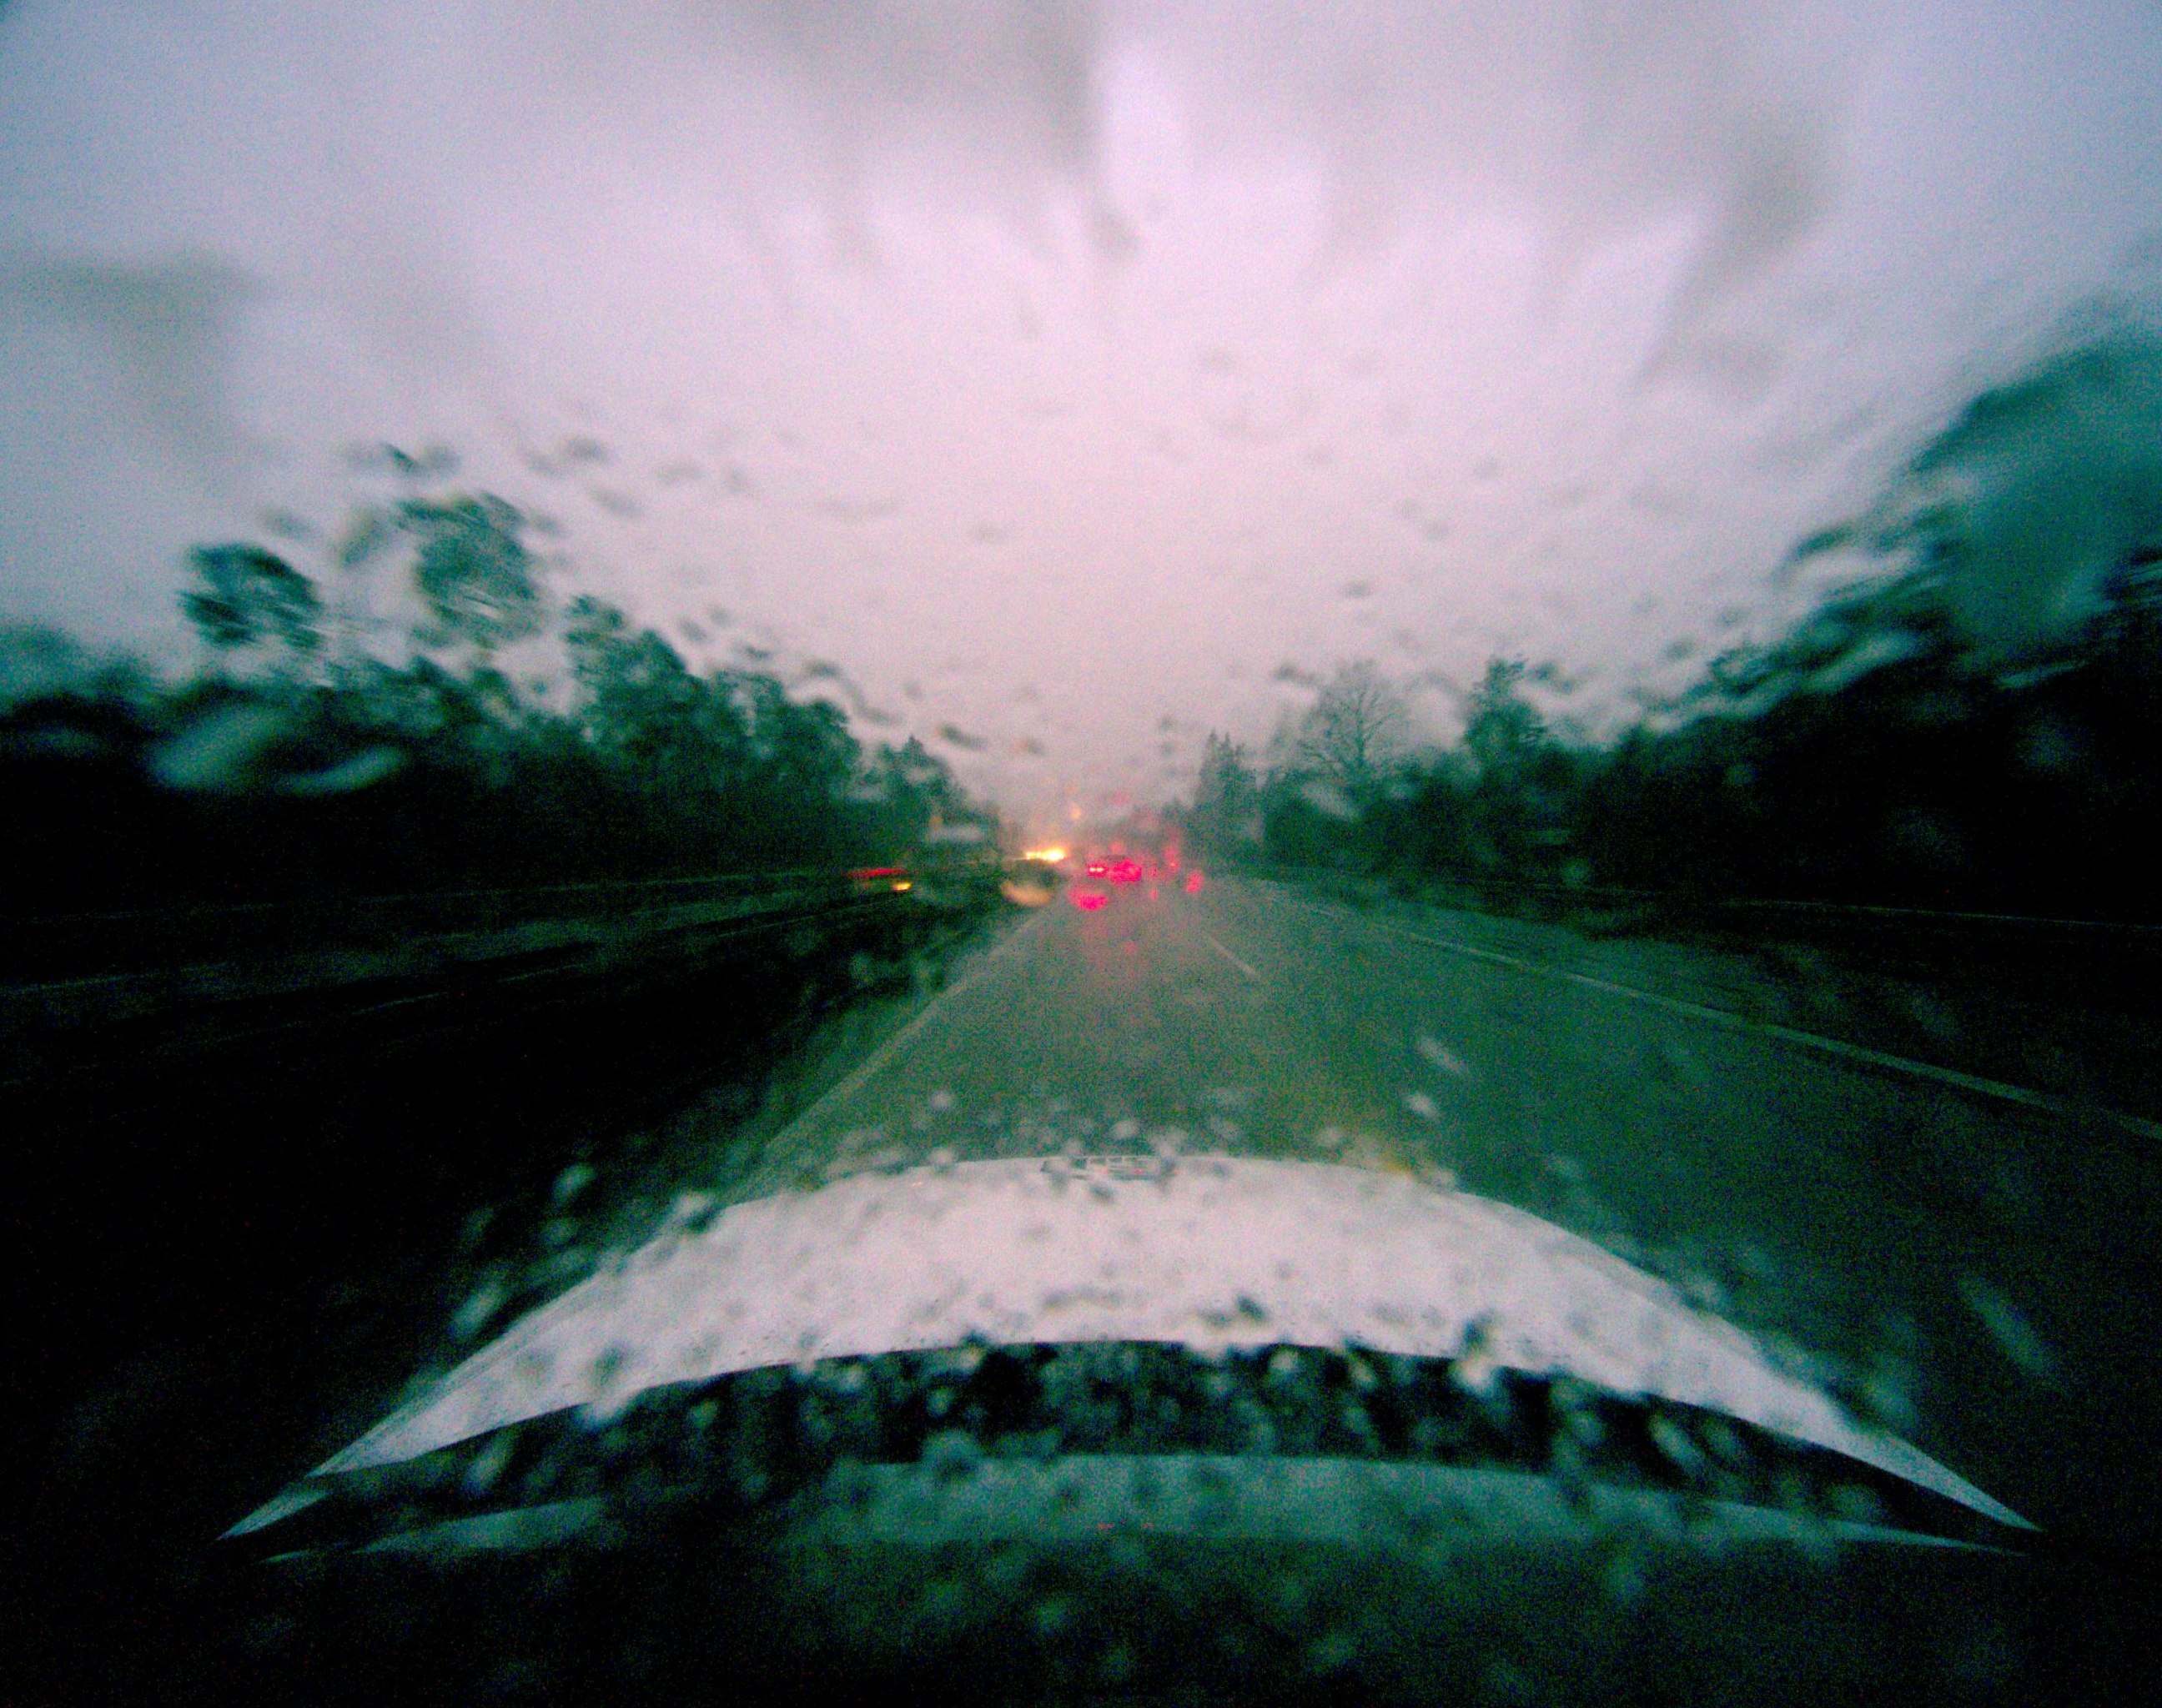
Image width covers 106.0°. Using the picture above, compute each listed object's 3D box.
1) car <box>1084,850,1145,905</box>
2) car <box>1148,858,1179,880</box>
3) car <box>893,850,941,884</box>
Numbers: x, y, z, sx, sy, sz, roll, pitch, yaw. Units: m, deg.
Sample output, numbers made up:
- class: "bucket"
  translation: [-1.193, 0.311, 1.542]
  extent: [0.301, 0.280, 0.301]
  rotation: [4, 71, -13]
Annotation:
- class: "car"
  translation: [1.140, 0.767, 28.703]
  extent: [1.979, 1.767, 4.174]
  rotation: [-1, 0, 1]
- class: "car"
  translation: [5.596, 1.012, 55.694]
  extent: [1.774, 1.437, 3.536]
  rotation: [-1, 0, 0]
- class: "car"
  translation: [-10.152, 0.754, 50.734]
  extent: [1.987, 2.013, 4.783]
  rotation: [-1, 0, 0]
